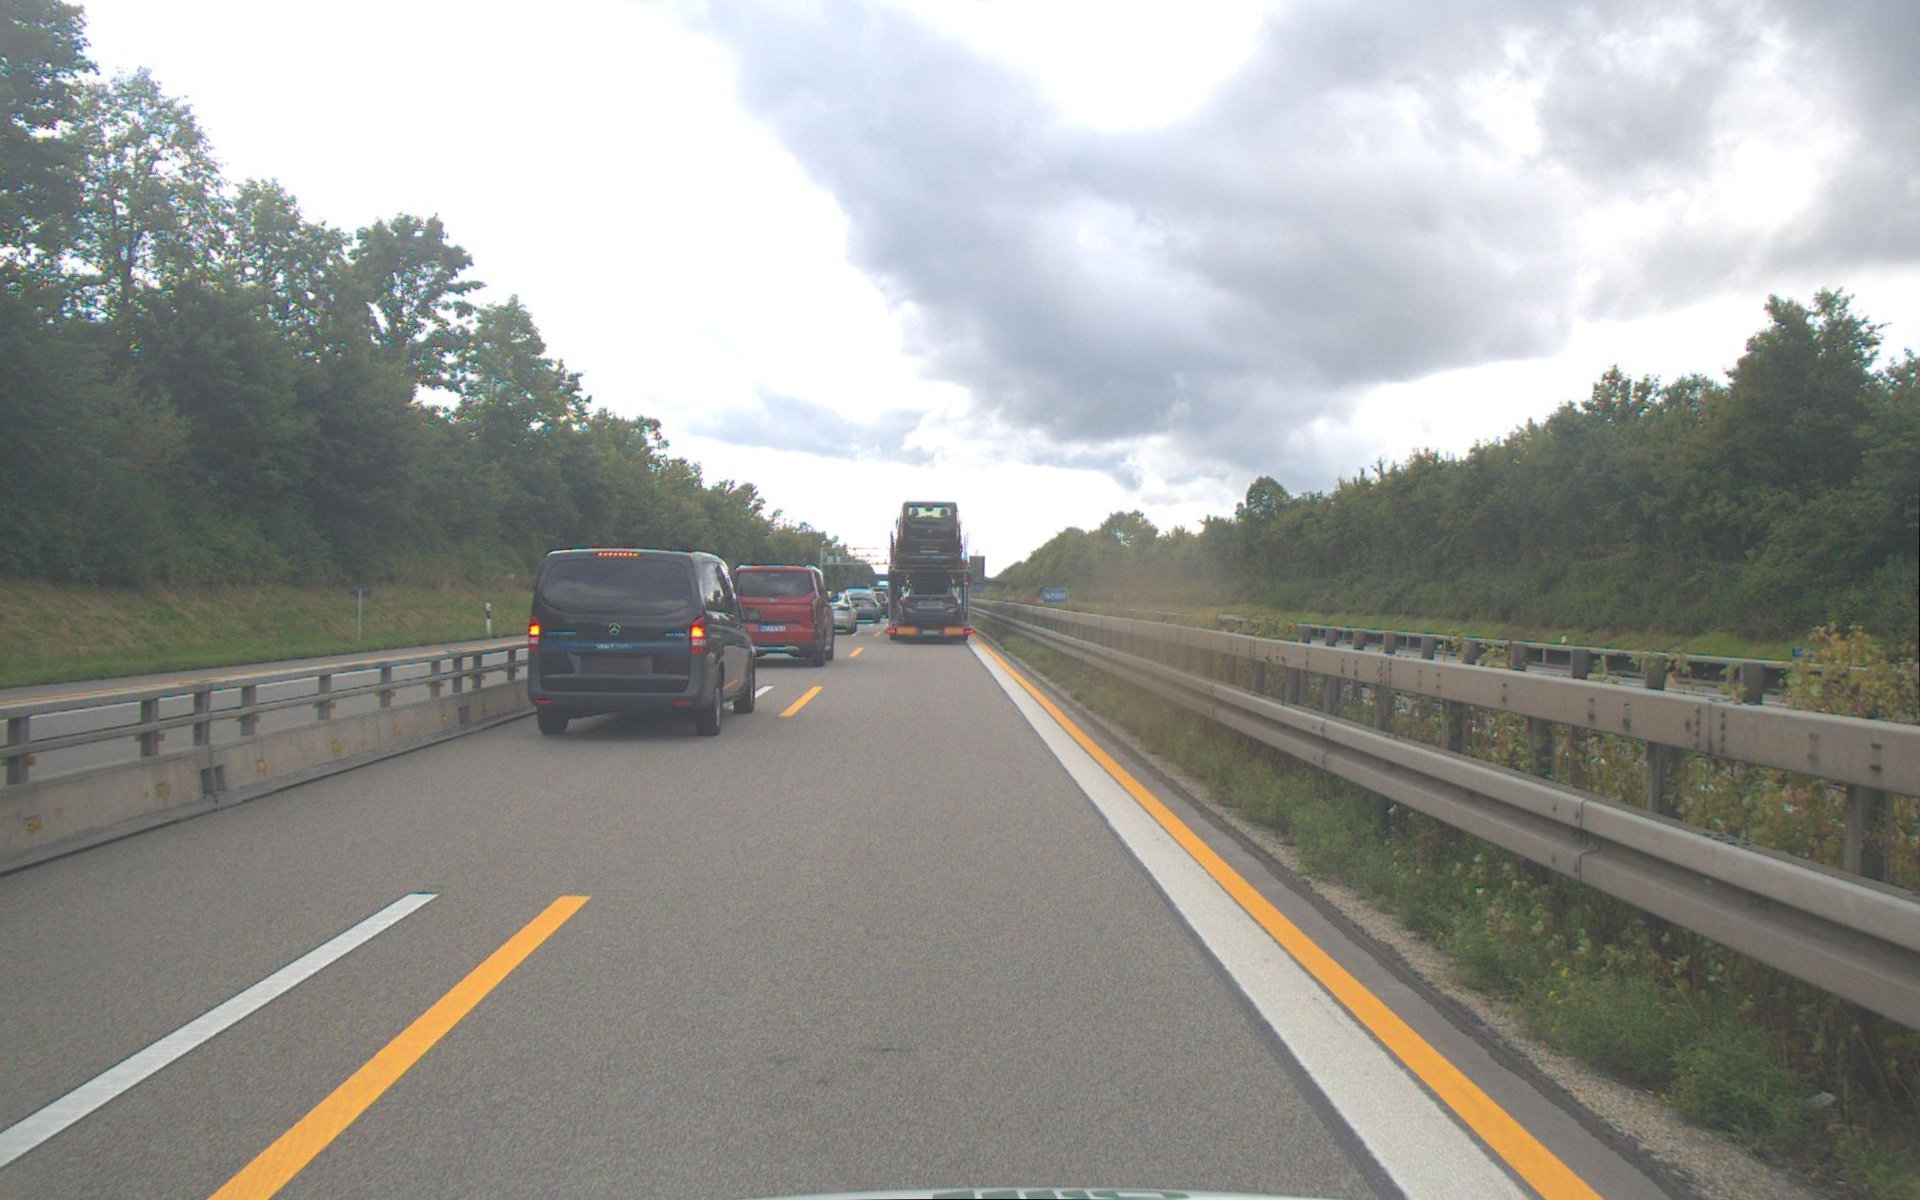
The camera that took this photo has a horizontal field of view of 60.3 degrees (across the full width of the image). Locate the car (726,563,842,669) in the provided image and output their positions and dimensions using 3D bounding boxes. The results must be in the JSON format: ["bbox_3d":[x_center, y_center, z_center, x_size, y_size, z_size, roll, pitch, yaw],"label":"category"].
[{"bbox_3d":[-3.551,0.298,34.109,1.990,2.049,4.576,0,0,-1],"label":"car"}]

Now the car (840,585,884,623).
[{"bbox_3d":[-4.690,0.169,79.731,1.990,1.788,4.576,0,0,-2],"label":"car"}]

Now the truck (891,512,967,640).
[{"bbox_3d":[-1.047,-0.788,57.054,2.464,4.177,5.684,0,0,-1],"label":"truck"}]

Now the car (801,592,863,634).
[{"bbox_3d":[-4.530,0.435,58.939,1.990,1.456,4.576,0,0,-2],"label":"car"}]

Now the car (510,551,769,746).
[{"bbox_3d":[-3.408,0.459,18.740,1.953,1.875,5.608,0,0,-1],"label":"car"}]

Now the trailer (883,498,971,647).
[{"bbox_3d":[-0.994,-0.784,52.342,2.464,4.177,11.111,0,0,-1],"label":"trailer"}]

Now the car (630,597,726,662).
[{"bbox_3d":[-7.314,0.732,43.350,1.895,1.517,4.586,2,0,-3],"label":"car"}]

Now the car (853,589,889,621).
[{"bbox_3d":[-5.000,0.275,93.546,1.990,1.788,4.576,0,0,-2],"label":"car"}]
